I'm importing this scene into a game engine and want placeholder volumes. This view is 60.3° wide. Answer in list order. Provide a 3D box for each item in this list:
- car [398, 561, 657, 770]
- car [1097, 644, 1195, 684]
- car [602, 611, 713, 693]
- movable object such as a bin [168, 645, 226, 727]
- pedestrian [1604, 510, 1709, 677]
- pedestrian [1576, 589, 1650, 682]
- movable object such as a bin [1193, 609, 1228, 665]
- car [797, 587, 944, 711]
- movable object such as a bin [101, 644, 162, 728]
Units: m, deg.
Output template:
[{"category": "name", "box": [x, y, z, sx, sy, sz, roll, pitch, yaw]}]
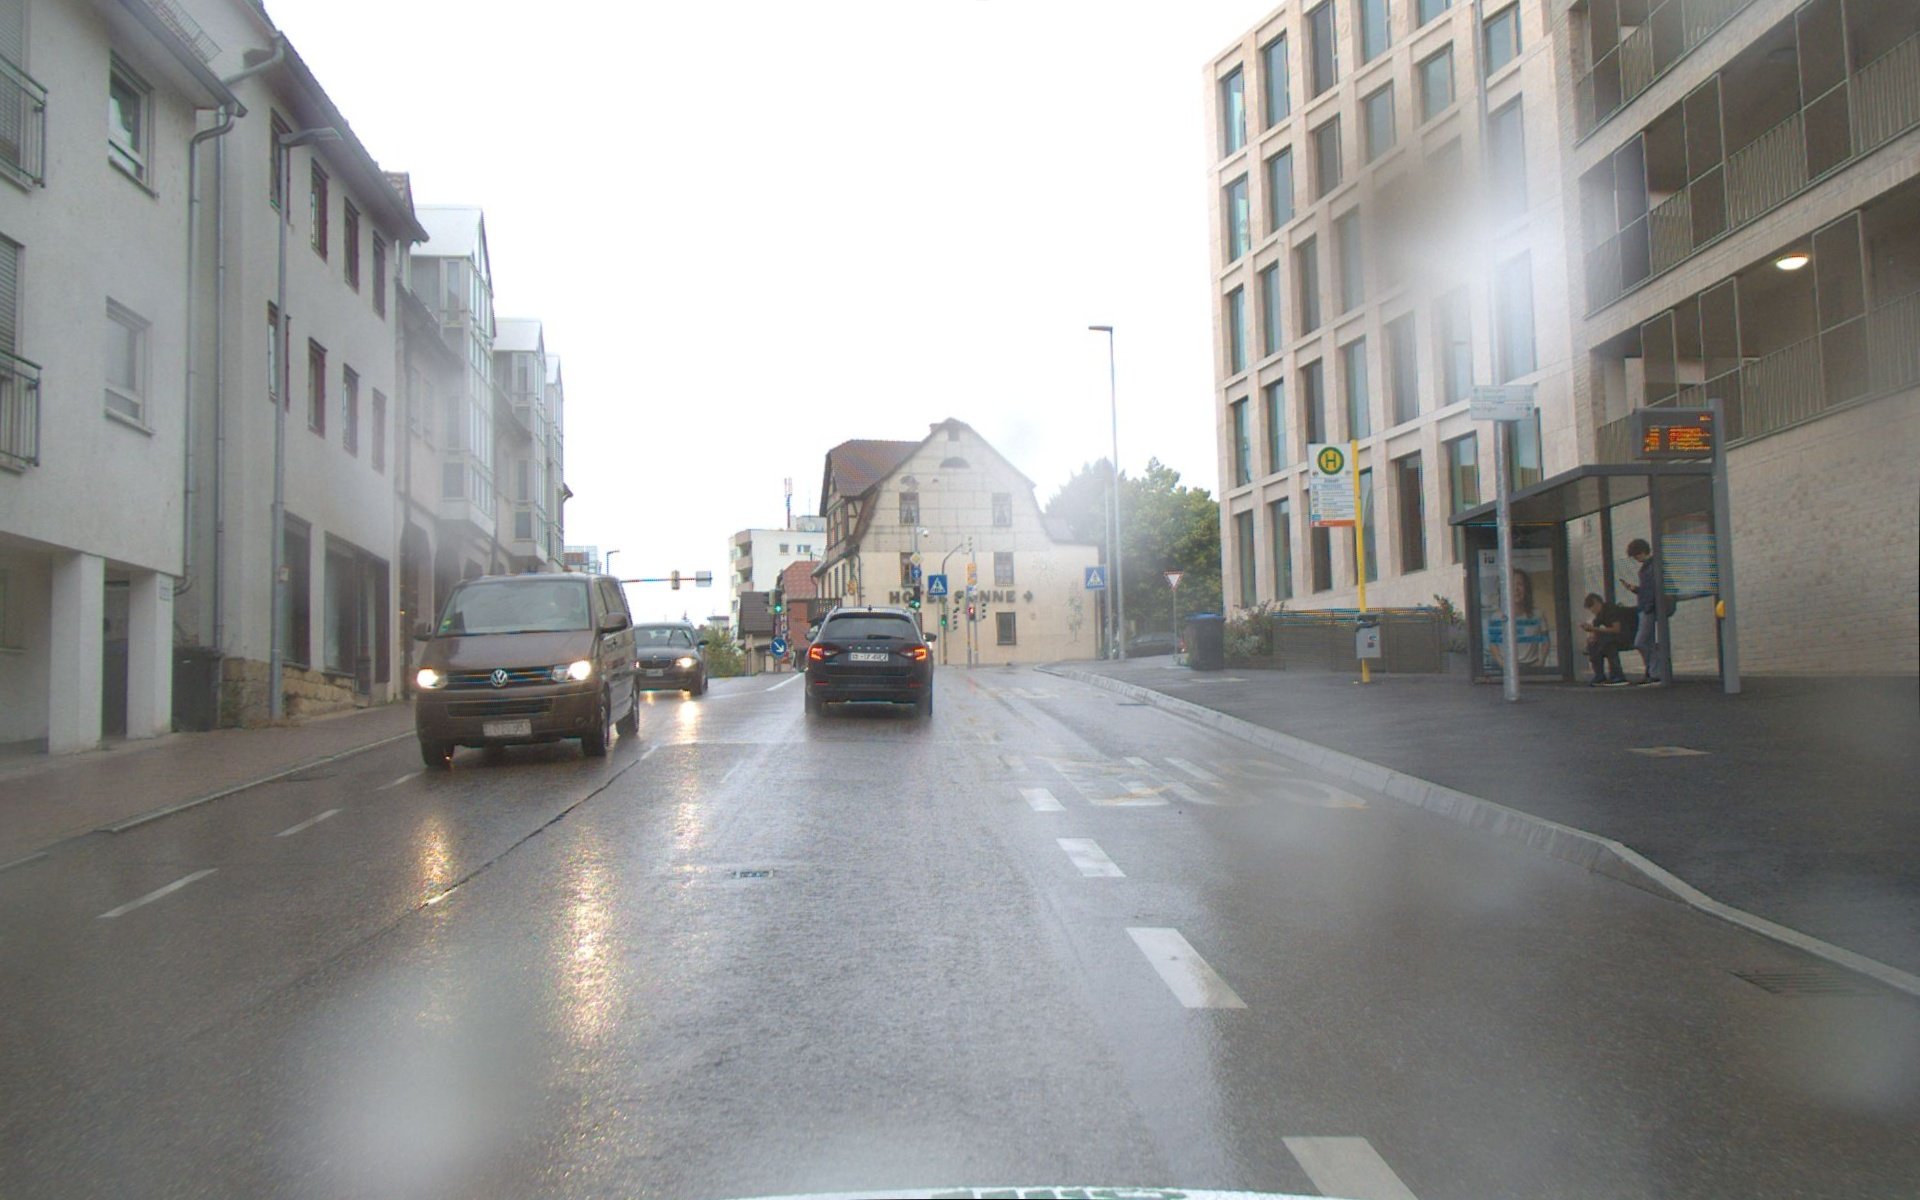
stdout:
[{"category": "car", "box": [-4.630, 0.651, 18.481, 1.894, 1.941, 5.037, -2, 0, -5]}, {"category": "car", "box": [8.870, 3.051, 78.910, 4.235, 1.531, 1.770, -2, -6, -18]}, {"category": "car", "box": [-5.844, 0.966, 32.306, 1.654, 1.469, 3.907, -1, -1, -4]}, {"category": "movable object such as a bin", "box": [-9.737, 1.089, 21.113, 0.498, 1.024, 0.584, 0, -1, -5]}, {"category": "pedestrian", "box": [8.562, -0.072, 20.376, 0.766, 1.974, 1.021, -2, -1, -1]}, {"category": "pedestrian", "box": [8.564, 0.463, 21.702, 0.658, 1.182, 0.635, -2, -1, -1]}, {"category": "movable object such as a bin", "box": [4.952, 0.723, 32.714, 0.583, 1.081, 0.578, -1, -1, -2]}, {"category": "car", "box": [-1.312, 0.662, 23.864, 1.906, 1.594, 4.413, -1, -1, -4]}, {"category": "movable object such as a bin", "box": [-10.469, 1.081, 20.908, 0.498, 1.024, 0.584, 0, -1, -5]}]
